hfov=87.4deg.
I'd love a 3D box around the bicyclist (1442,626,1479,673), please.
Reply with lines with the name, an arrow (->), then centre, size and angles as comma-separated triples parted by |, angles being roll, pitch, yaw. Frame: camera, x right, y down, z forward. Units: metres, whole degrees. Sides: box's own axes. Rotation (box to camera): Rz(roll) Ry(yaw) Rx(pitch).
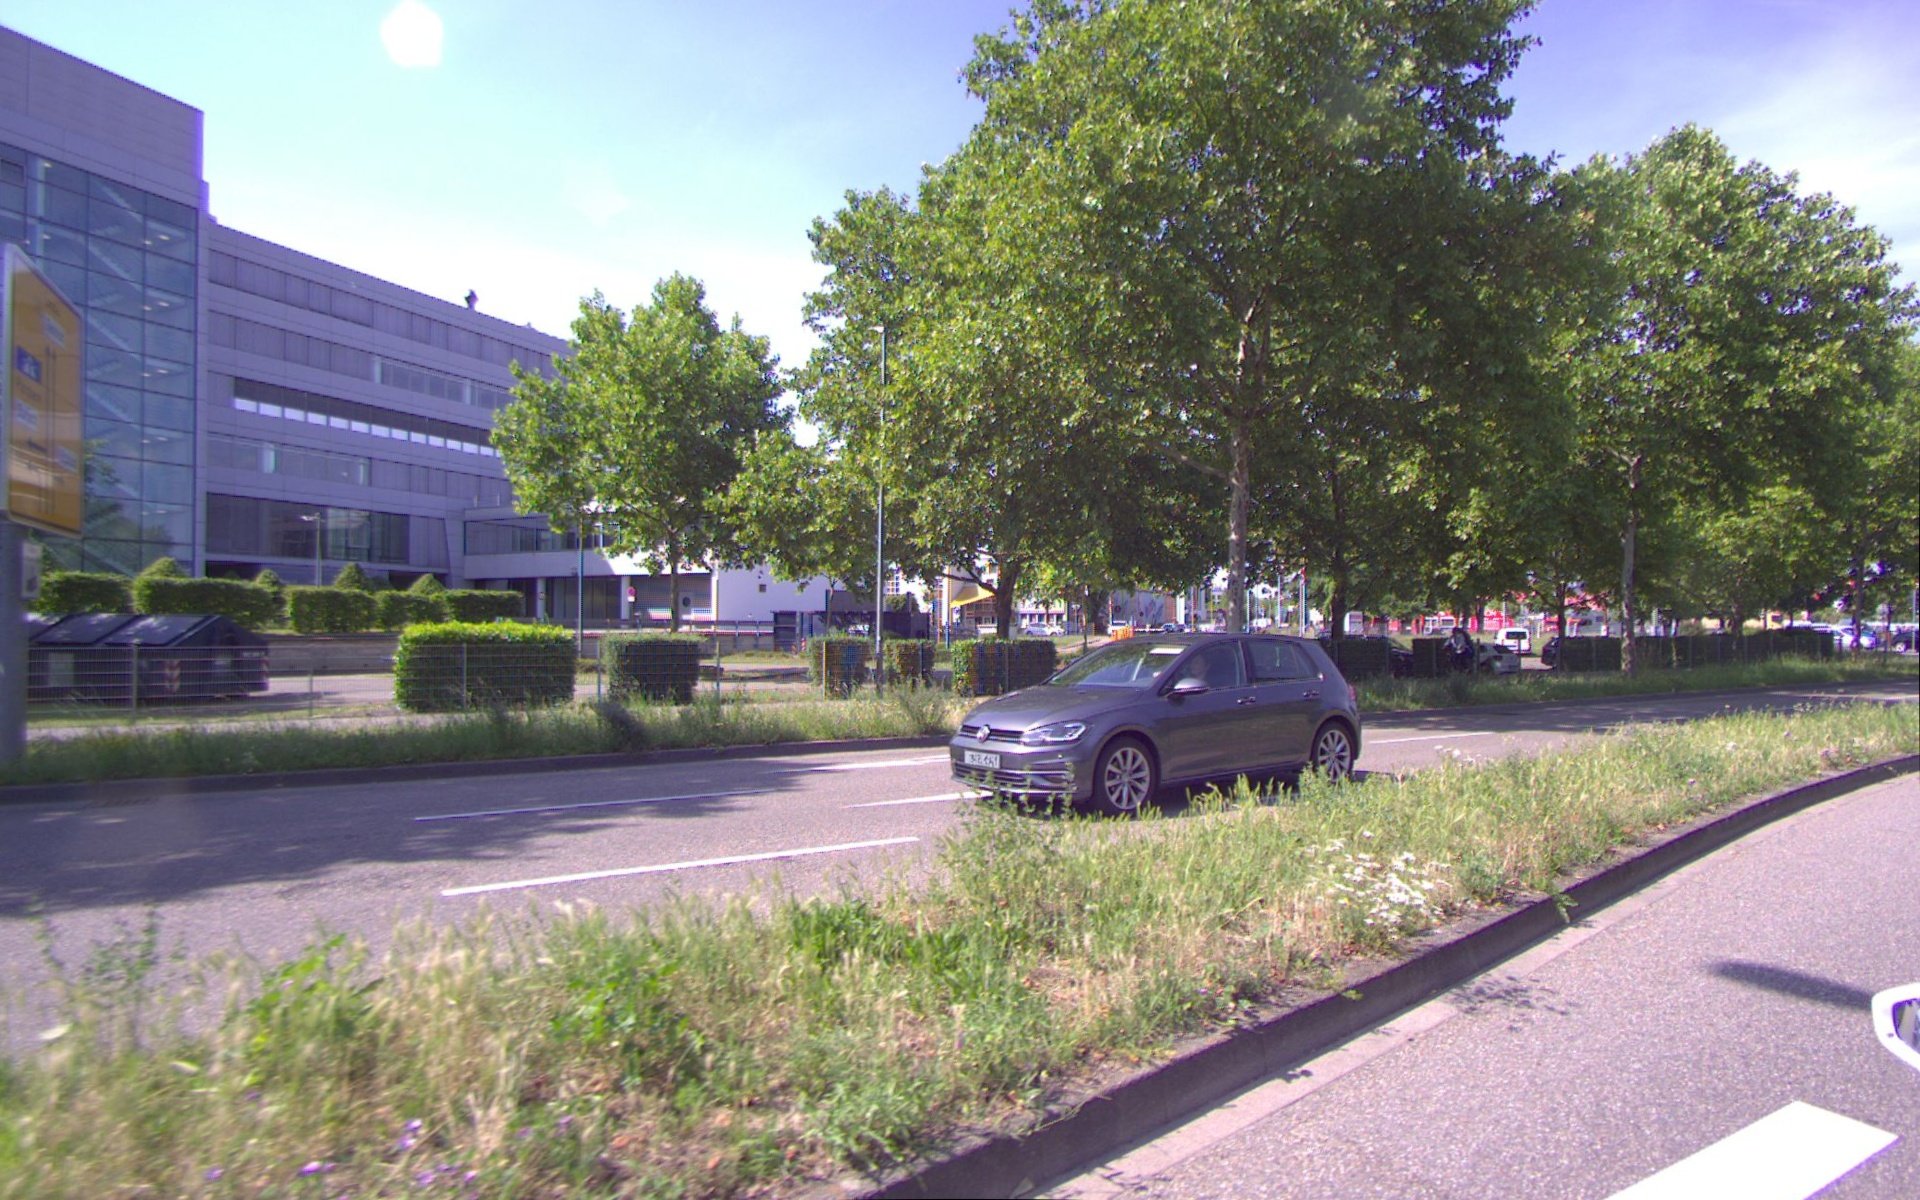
bicyclist -> 16.479, 1.622, 33.097 | 0.931, 1.504, 0.678 | 1, -2, -30

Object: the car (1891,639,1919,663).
car -> 59.759, 3.133, 61.470 | 1.731, 1.407, 3.999 | -1, -1, -3

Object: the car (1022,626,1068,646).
car -> 8.107, 3.442, 95.591 | 3.925, 1.795, 1.845 | -1, 0, 25

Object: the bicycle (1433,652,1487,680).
bicycle -> 16.474, 2.170, 33.090 | 1.903, 0.877, 0.686 | 1, -2, -30

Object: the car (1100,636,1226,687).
car -> 6.275, 1.864, 31.483 | 1.751, 1.483, 3.970 | 1, -2, -29

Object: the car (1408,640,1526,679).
car -> 20.766, 2.396, 41.247 | 1.787, 1.432, 3.961 | 2, -2, -35

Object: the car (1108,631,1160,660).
car -> 10.812, 2.817, 62.745 | 1.774, 1.525, 3.989 | -2, 0, -13

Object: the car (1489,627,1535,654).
car -> 36.068, 2.620, 65.779 | 1.961, 1.687, 4.845 | -1, -2, 21

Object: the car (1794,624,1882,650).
car -> 58.610, 2.460, 67.111 | 1.695, 1.624, 4.148 | 0, -2, -18

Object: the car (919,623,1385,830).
car -> 1.843, 0.980, 9.200 | 4.122, 1.498, 1.828 | 1, -2, -34

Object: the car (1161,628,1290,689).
car -> 8.824, 1.914, 33.700 | 2.128, 1.847, 3.974 | 2, -1, -26
